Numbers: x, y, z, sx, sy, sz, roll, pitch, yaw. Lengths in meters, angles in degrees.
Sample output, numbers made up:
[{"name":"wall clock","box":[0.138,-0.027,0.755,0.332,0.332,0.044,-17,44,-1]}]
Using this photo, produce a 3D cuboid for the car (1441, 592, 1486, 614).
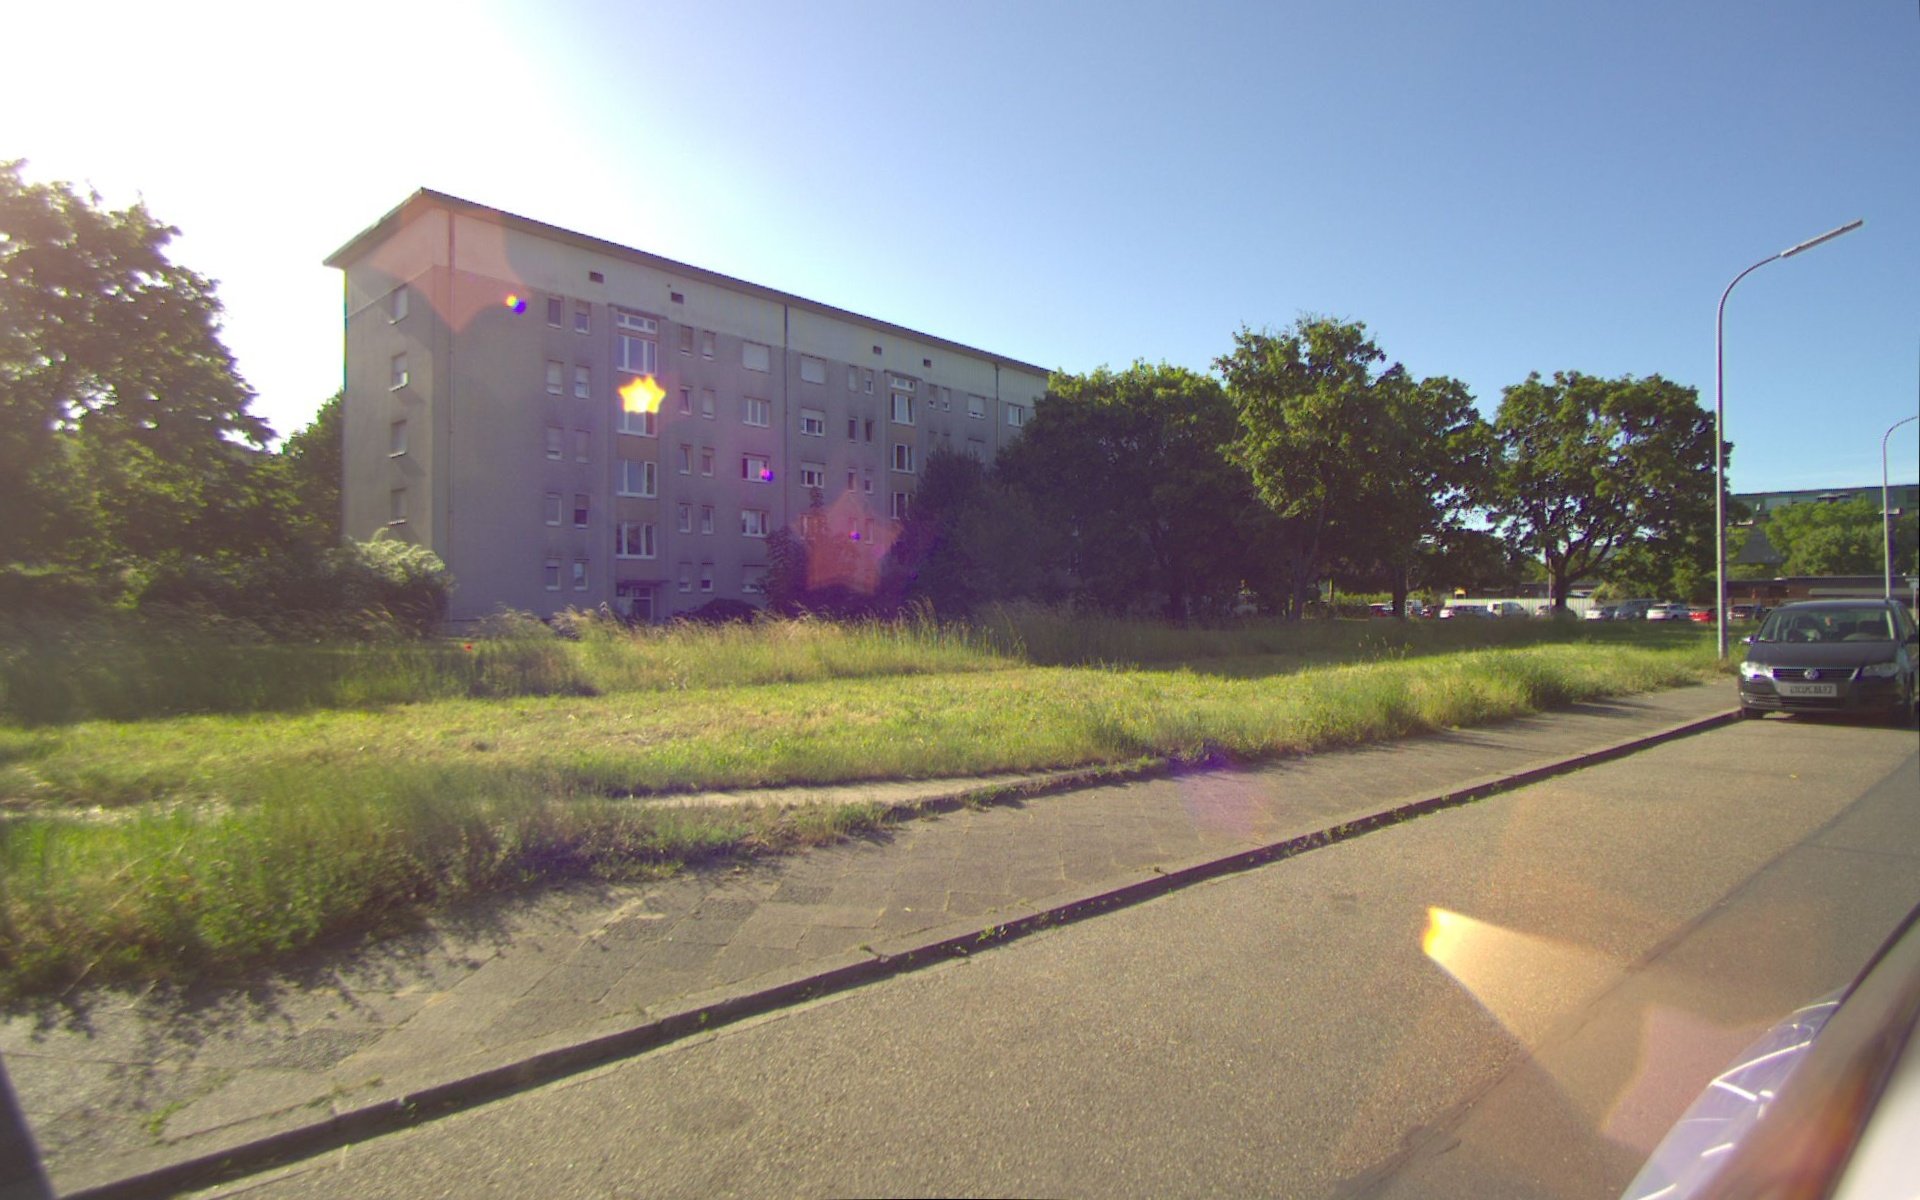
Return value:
[{"name":"car","box":[48.157,0.286,96.817,3.920,2.039,2.002,0,0,-30]}]

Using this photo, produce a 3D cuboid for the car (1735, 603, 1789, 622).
[{"name":"car","box":[58.709,0.898,74.073,3.920,1.340,1.783,0,0,-31]}]

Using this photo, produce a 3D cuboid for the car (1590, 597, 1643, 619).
[{"name":"car","box":[54.198,0.628,83.557,3.918,1.796,1.960,0,0,-28]}]

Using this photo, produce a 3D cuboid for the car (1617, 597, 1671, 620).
[{"name":"car","box":[54.729,0.640,80.917,3.918,1.796,1.960,0,0,-28]}]

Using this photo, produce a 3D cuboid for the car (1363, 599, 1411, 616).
[{"name":"car","box":[38.906,0.677,92.248,1.958,1.469,3.646,0,0,-24]}]

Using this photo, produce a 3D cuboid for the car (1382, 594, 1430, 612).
[{"name":"car","box":[45.699,0.295,103.729,4.605,1.767,1.961,0,0,-24]}]

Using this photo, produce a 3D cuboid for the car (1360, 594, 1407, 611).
[{"name":"car","box":[44.505,0.255,106.354,4.605,1.767,1.961,0,0,-24]}]

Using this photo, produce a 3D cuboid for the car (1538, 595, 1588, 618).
[{"name":"car","box":[52.455,0.548,88.027,3.919,1.795,1.960,-2,1,-28]}]

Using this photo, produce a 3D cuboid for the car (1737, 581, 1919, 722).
[{"name":"car","box":[12.468,0.630,14.179,4.394,1.673,1.840,0,-1,-44]}]

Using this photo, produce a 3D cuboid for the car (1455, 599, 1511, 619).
[{"name":"car","box":[42.755,0.724,82.853,1.958,1.543,3.646,0,0,-24]}]

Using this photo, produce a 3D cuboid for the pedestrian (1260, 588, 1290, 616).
[{"name":"pedestrian","box":[23.405,0.130,75.228,1.668,2.057,1.490,0,0,-38]}]

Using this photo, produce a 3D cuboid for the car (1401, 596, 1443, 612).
[{"name":"car","box":[46.275,0.435,101.337,3.918,1.581,1.803,0,0,-28]}]

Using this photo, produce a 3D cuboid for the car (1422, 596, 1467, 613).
[{"name":"car","box":[47.406,0.460,99.047,3.918,1.581,1.960,0,0,-28]}]

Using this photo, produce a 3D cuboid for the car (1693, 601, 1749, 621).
[{"name":"car","box":[57.790,0.823,76.832,3.918,1.488,1.868,0,0,-28]}]

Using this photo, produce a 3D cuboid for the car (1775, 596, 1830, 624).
[{"name":"car","box":[59.984,0.697,72.050,3.922,1.883,1.958,0,0,-33]}]

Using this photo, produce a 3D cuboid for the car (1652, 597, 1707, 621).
[{"name":"car","box":[55.917,0.673,78.634,3.918,1.796,1.864,0,0,-28]}]

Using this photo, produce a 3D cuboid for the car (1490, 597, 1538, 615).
[{"name":"car","box":[50.426,0.572,92.111,3.918,1.581,1.960,0,0,-28]}]
